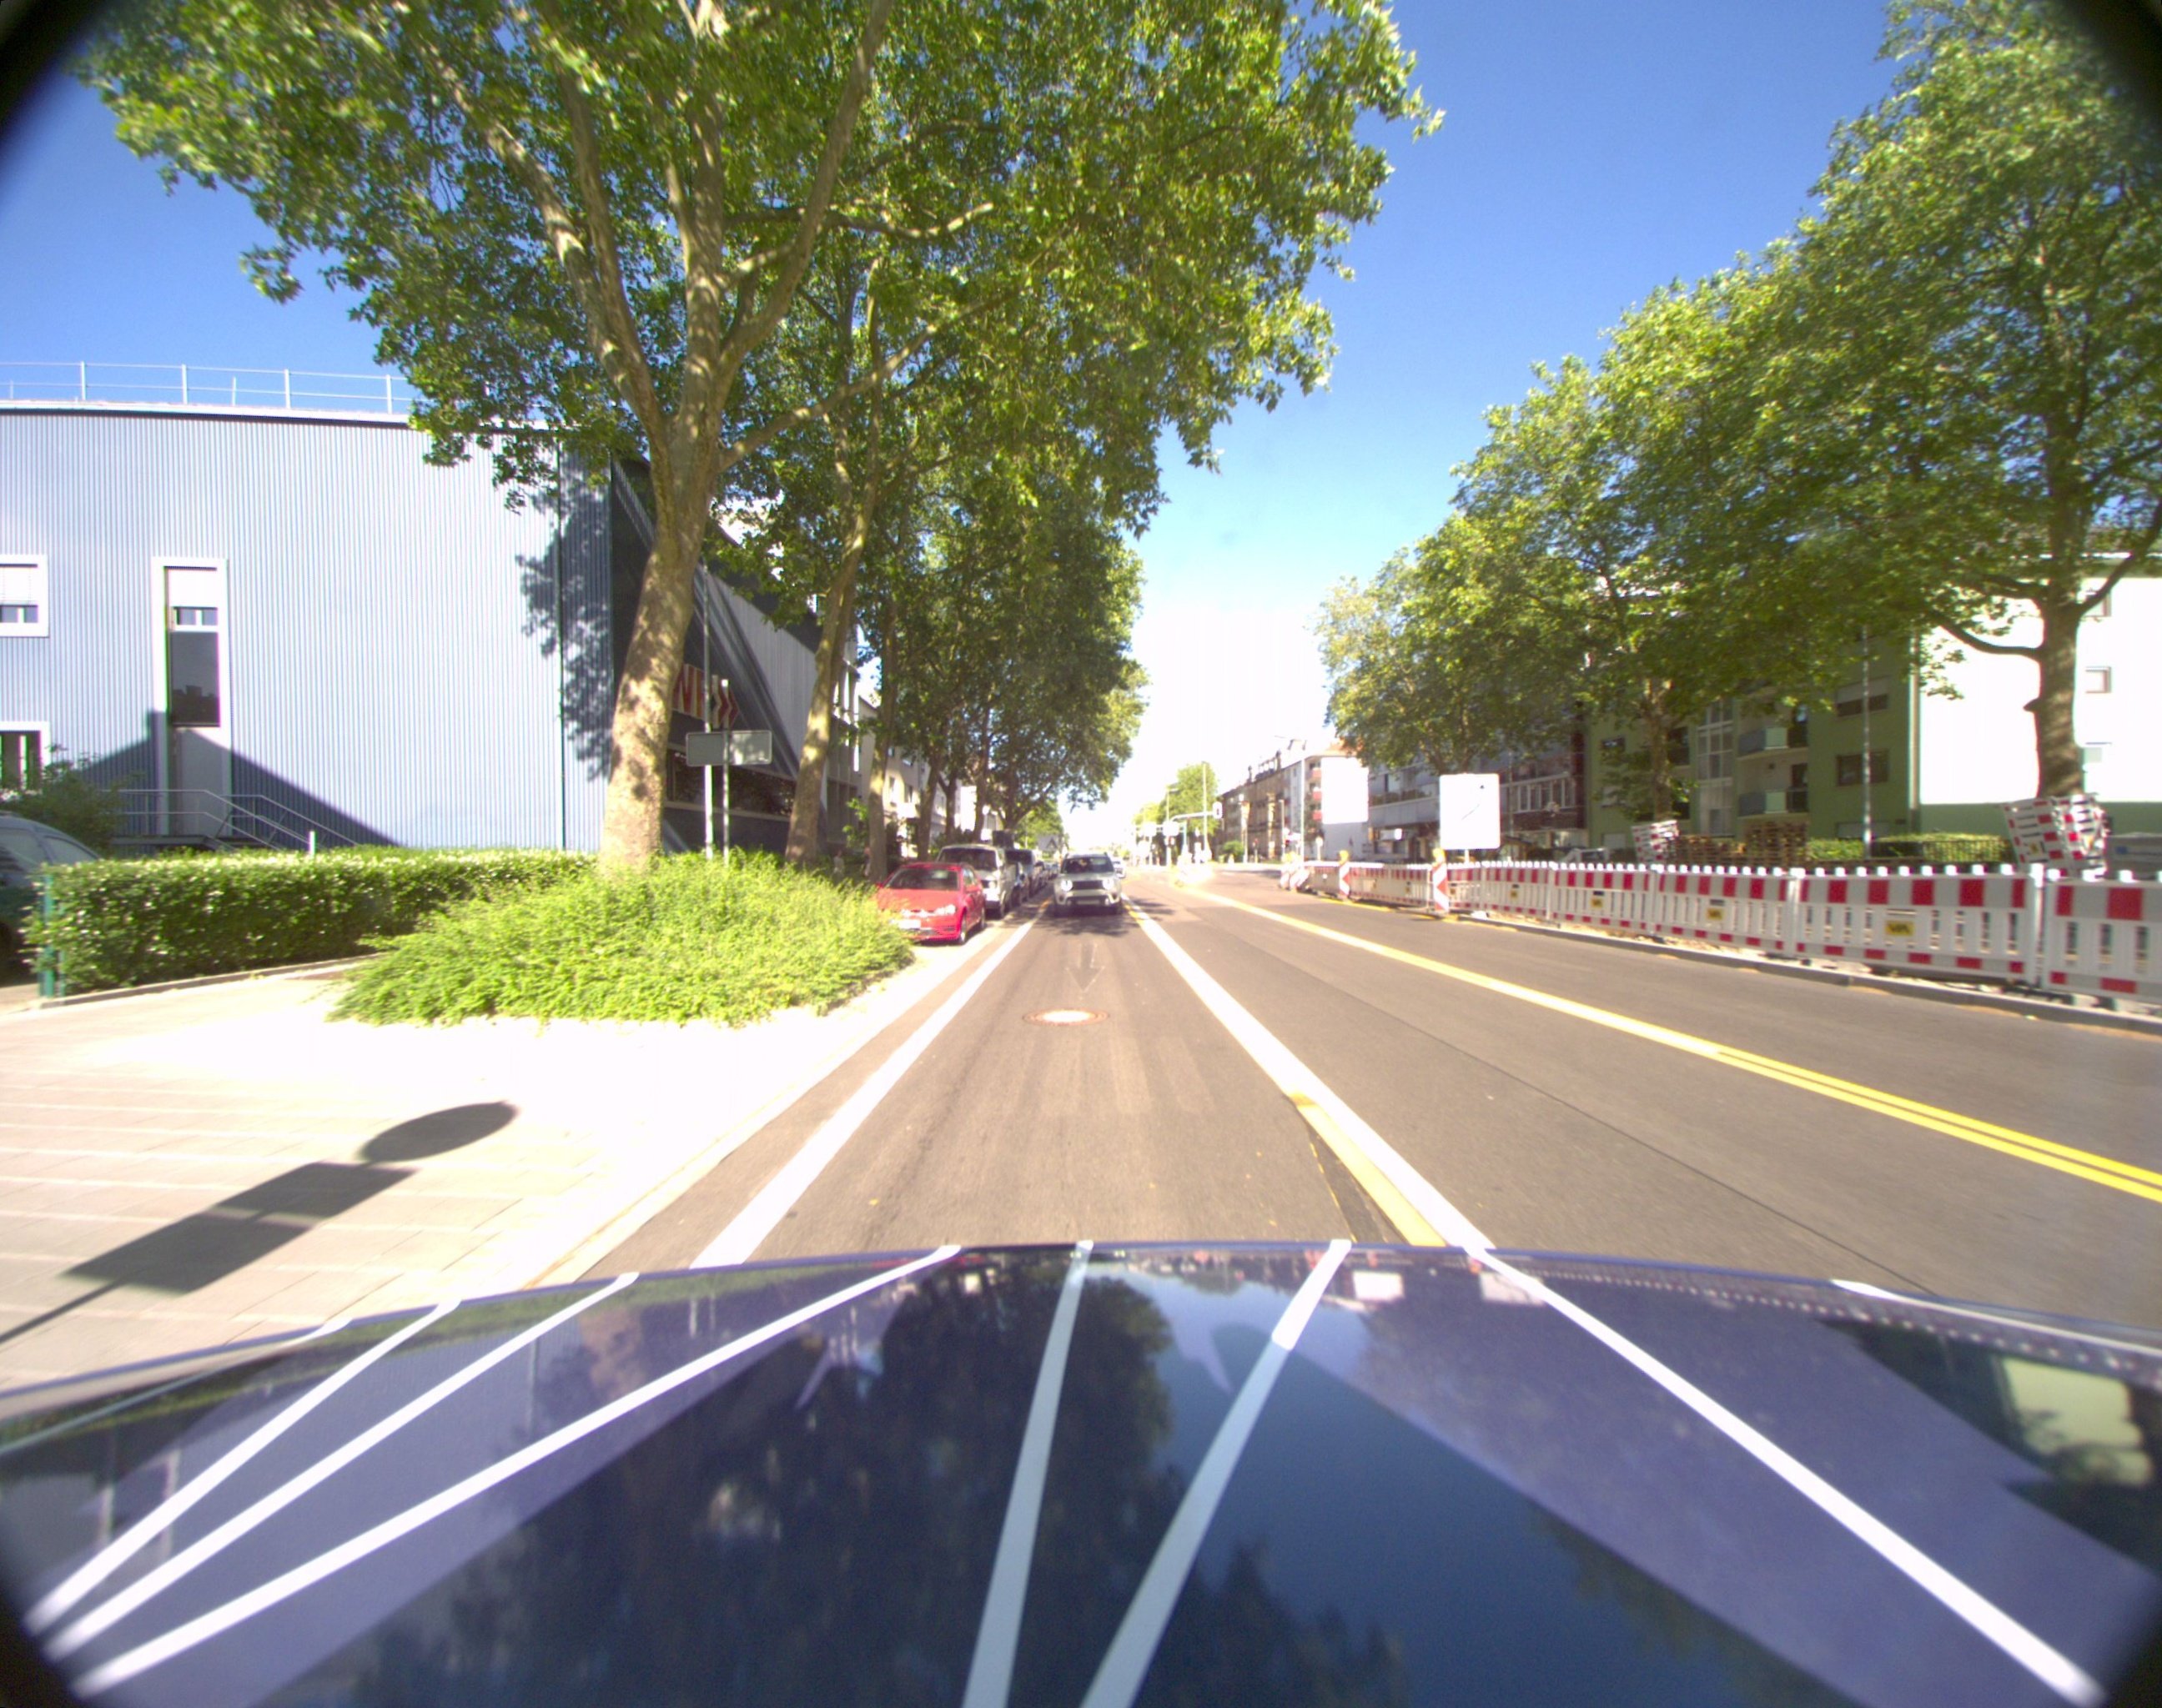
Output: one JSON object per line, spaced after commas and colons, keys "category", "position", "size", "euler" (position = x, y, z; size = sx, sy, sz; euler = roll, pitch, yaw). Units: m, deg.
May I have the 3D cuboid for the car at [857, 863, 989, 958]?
{"category": "car", "position": [-2.887, 0.969, 14.721], "size": [1.674, 1.509, 3.997], "euler": [0, 0, 1]}

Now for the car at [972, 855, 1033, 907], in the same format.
{"category": "car", "position": [-2.634, 0.867, 26.286], "size": [1.631, 1.625, 4.220], "euler": [0, 0, 1]}

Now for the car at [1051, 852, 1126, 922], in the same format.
{"category": "car", "position": [0.224, 0.826, 21.691], "size": [1.868, 1.716, 4.506], "euler": [-2, 0, 1]}

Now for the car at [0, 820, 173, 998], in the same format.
{"category": "car", "position": [-12.286, 0.554, 8.208], "size": [1.803, 1.811, 3.990], "euler": [-1, 1, -29]}

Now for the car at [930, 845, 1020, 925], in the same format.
{"category": "car", "position": [-2.756, 0.748, 20.769], "size": [1.753, 1.954, 4.506], "euler": [0, 0, 1]}

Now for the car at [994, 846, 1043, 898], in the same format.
{"category": "car", "position": [-2.538, 0.699, 31.733], "size": [1.631, 1.997, 4.220], "euler": [0, 0, 1]}
